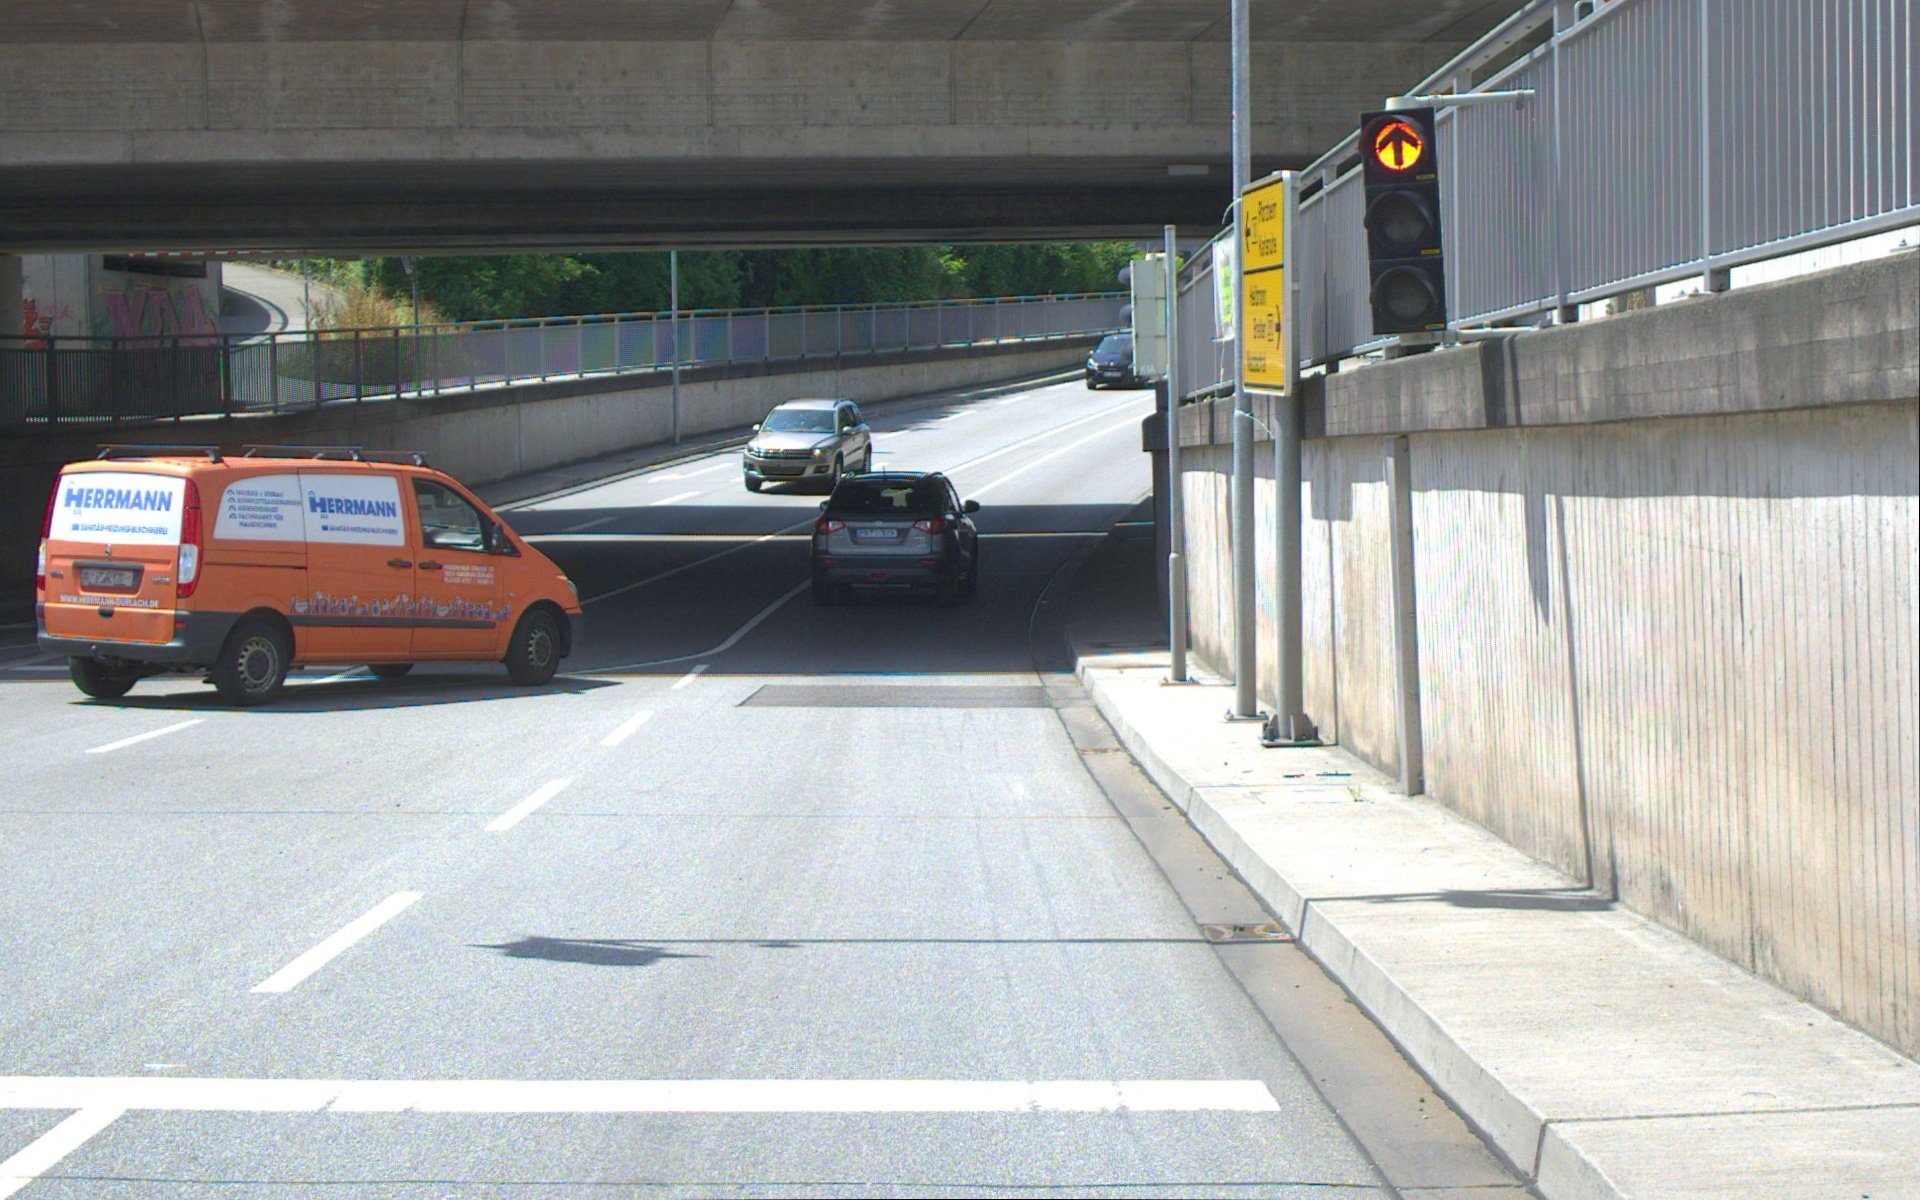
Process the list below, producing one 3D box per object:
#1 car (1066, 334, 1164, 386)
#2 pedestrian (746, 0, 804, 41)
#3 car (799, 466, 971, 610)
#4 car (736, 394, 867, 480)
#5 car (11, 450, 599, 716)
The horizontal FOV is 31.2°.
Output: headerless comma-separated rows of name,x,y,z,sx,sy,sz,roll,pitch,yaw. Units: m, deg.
car,4.459,-6.856,98.416,1.783,1.431,3.997,1,3,18
pedestrian,-1.874,-6.695,34.524,0.539,2.074,0.535,-1,1,-7
car,-0.871,-0.800,42.258,1.804,1.612,4.000,1,3,3
car,-3.050,-3.185,66.834,1.994,1.621,4.000,0,3,6
car,-5.228,-0.232,28.060,1.877,1.925,4.710,2,4,36
